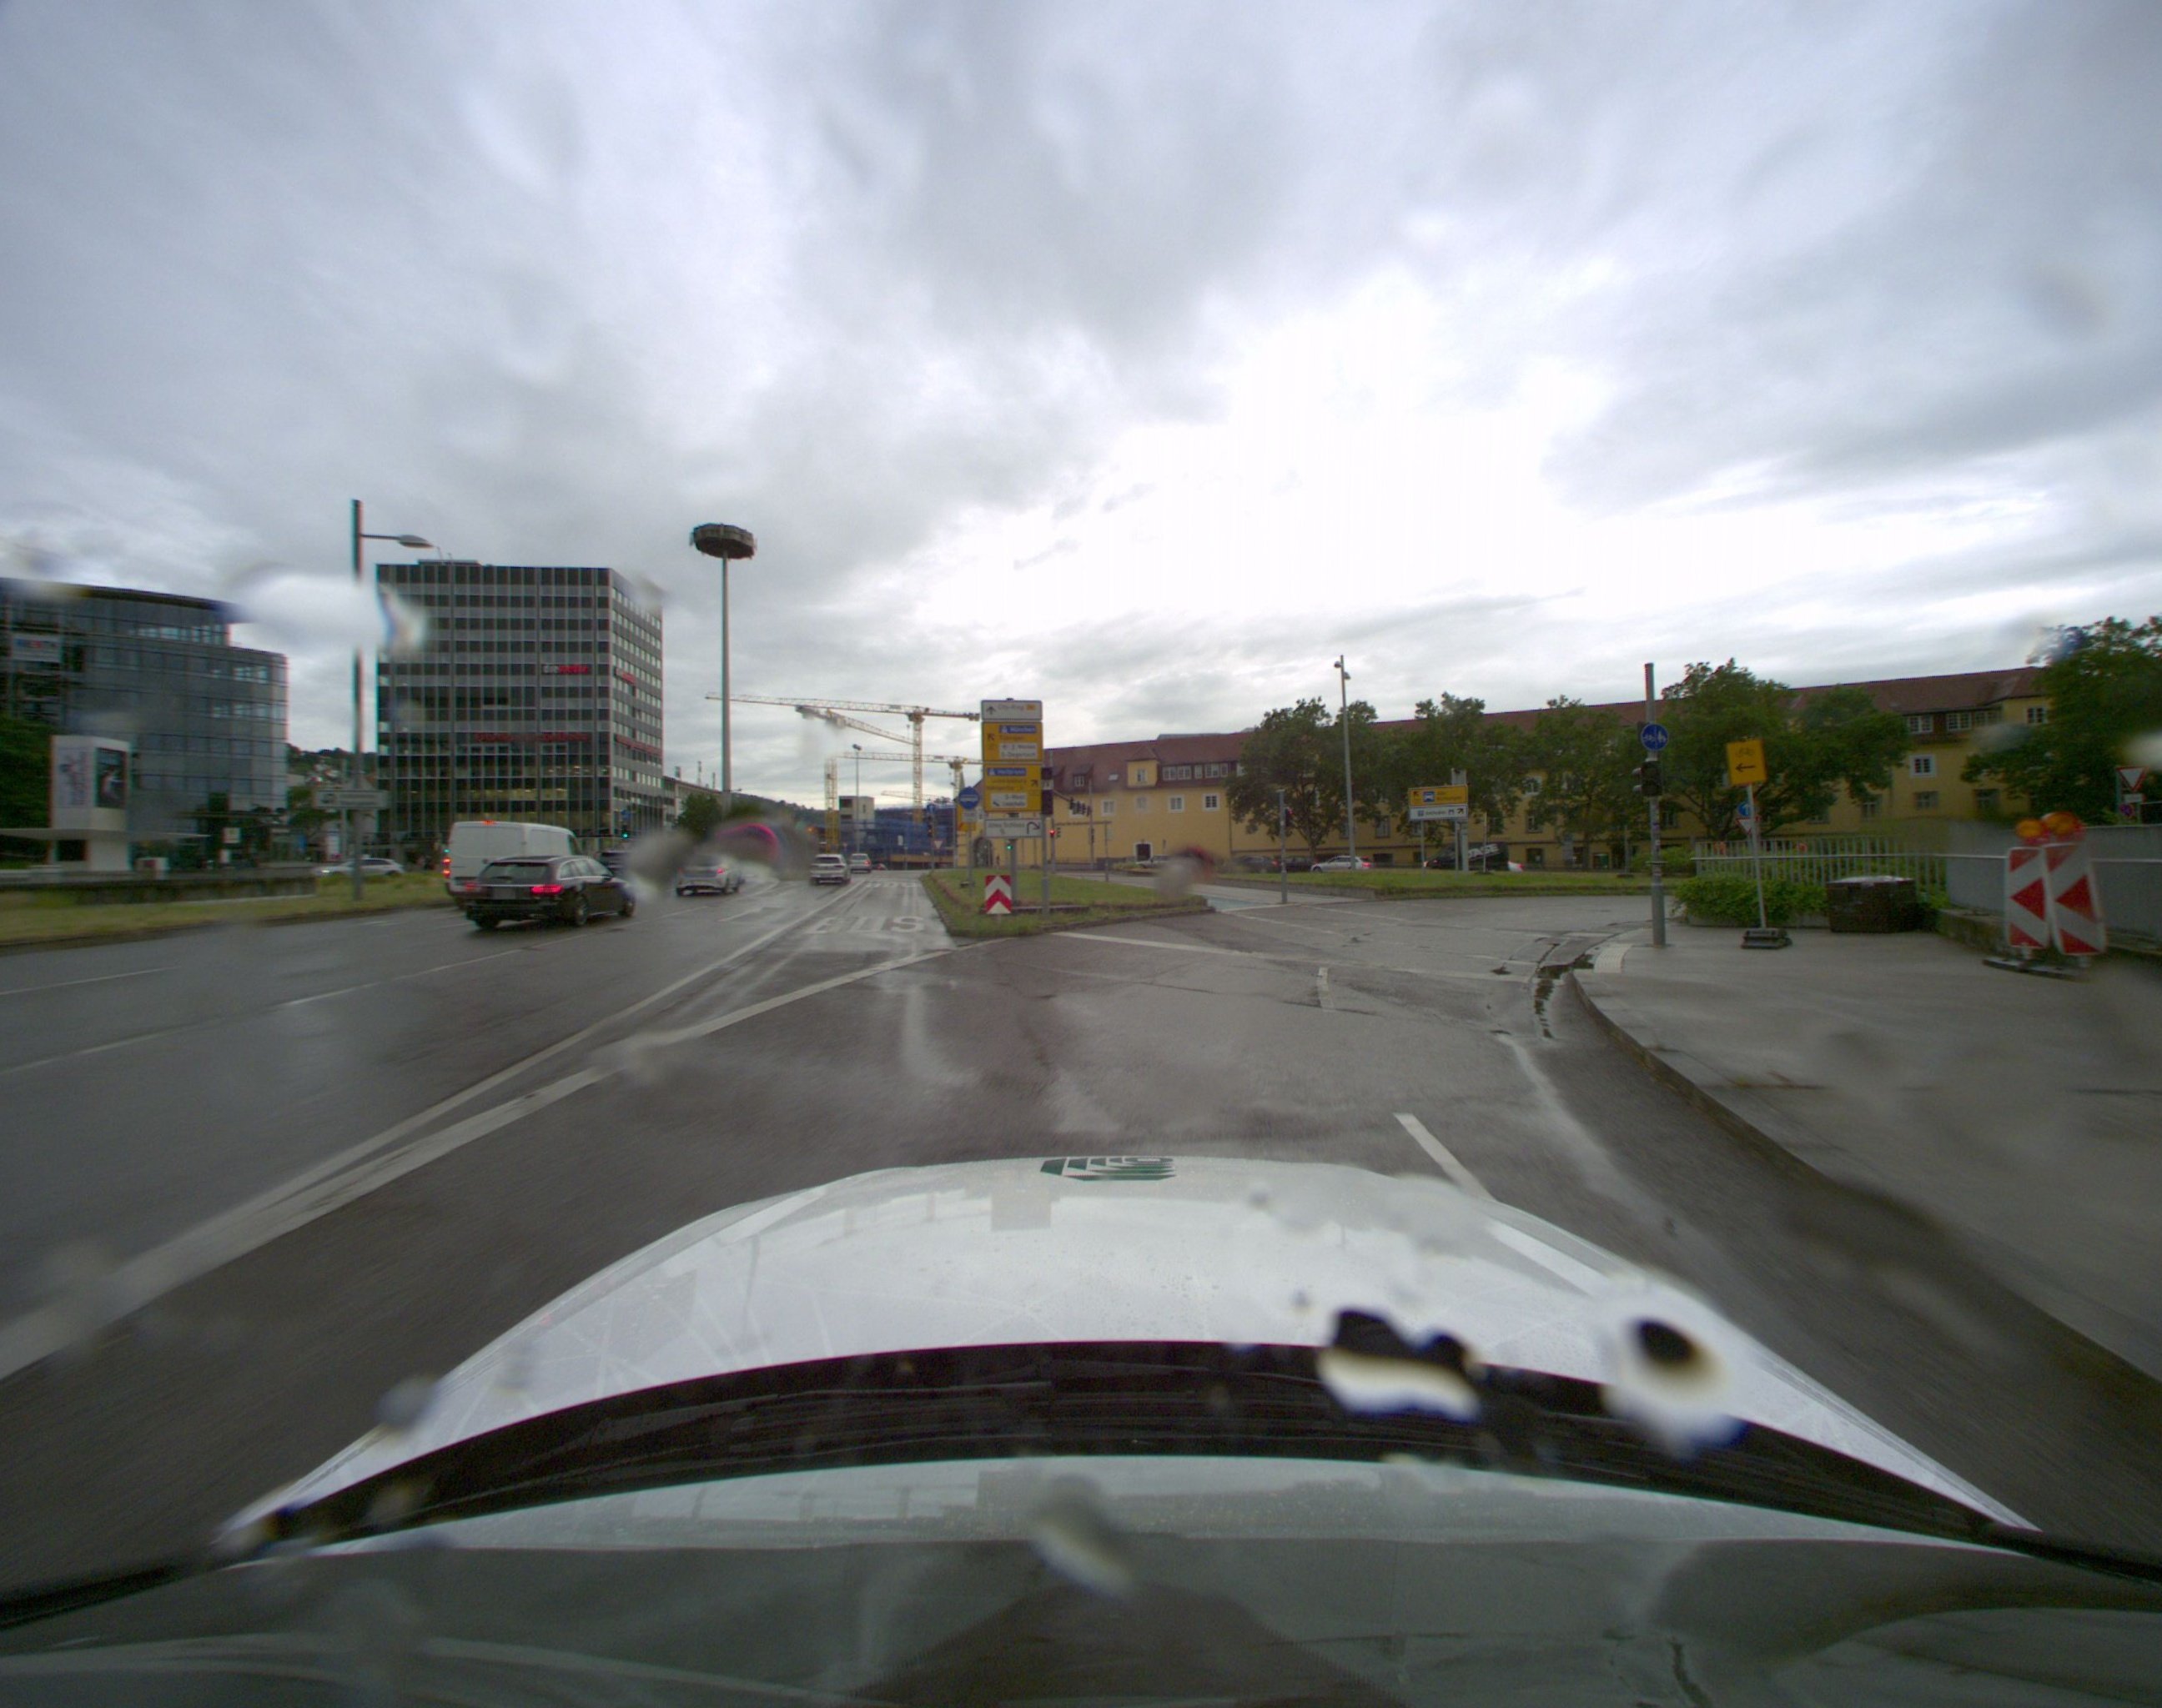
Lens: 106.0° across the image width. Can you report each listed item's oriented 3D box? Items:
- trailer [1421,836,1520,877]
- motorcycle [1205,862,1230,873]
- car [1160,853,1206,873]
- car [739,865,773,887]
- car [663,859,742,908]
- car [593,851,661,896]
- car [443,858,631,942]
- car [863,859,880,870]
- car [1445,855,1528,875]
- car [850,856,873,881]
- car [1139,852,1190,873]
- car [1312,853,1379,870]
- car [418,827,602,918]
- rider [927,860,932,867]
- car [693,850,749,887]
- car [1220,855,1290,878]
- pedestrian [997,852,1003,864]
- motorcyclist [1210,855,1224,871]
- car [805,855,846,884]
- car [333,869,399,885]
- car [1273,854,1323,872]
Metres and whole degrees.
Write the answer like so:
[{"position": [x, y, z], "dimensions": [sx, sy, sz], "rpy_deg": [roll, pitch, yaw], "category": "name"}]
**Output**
[{"position": [24.572, 0.225, 51.673], "dimensions": [5.412, 2.257, 2.010], "rpy_deg": [-3, -3, 21], "category": "trailer"}, {"position": [11.090, 1.127, 66.199], "dimensions": [1.950, 0.852, 0.547], "rpy_deg": [-1, -2, 12], "category": "motorcycle"}, {"position": [8.051, 0.722, 64.085], "dimensions": [3.375, 1.472, 1.659], "rpy_deg": [-1, -2, 14], "category": "car"}, {"position": [-21.428, 1.436, 53.785], "dimensions": [1.493, 1.369, 3.022], "rpy_deg": [0, -1, -10], "category": "car"}, {"position": [-13.611, 1.043, 29.499], "dimensions": [1.882, 1.653, 3.443], "rpy_deg": [0, -1, -12], "category": "car"}, {"position": [-17.965, 0.771, 32.362], "dimensions": [1.465, 1.706, 3.128], "rpy_deg": [0, -1, -12], "category": "car"}, {"position": [-10.839, 0.834, 16.539], "dimensions": [1.828, 1.494, 3.390], "rpy_deg": [0, 0, -8], "category": "car"}, {"position": [-25.648, 1.267, 99.859], "dimensions": [1.715, 1.365, 3.057], "rpy_deg": [0, -1, -10], "category": "car"}, {"position": [28.906, 0.819, 58.273], "dimensions": [5.239, 1.361, 1.566], "rpy_deg": [-1, -2, 23], "category": "car"}, {"position": [-16.707, 1.072, 61.980], "dimensions": [1.671, 1.741, 3.270], "rpy_deg": [0, 1, -16], "category": "car"}, {"position": [6.005, 0.646, 58.658], "dimensions": [3.376, 1.482, 1.842], "rpy_deg": [-1, -2, 16], "category": "car"}, {"position": [18.781, 0.566, 57.948], "dimensions": [1.550, 1.140, 4.325], "rpy_deg": [1, -2, -43], "category": "car"}, {"position": [-16.034, 0.524, 23.292], "dimensions": [2.292, 2.314, 4.989], "rpy_deg": [0, -1, -9], "category": "car"}, {"position": [-22.063, 1.390, 118.665], "dimensions": [0.618, 1.038, 0.532], "rpy_deg": [0, -2, -8], "category": "rider"}, {"position": [-17.552, 0.698, 39.858], "dimensions": [1.716, 1.727, 3.482], "rpy_deg": [0, -1, -10], "category": "car"}, {"position": [13.090, 0.971, 61.311], "dimensions": [4.755, 1.709, 2.012], "rpy_deg": [-1, -2, 33], "category": "car"}, {"position": [-8.972, 0.464, 90.518], "dimensions": [0.450, 1.368, 0.447], "rpy_deg": [-1, -2, 28], "category": "pedestrian"}, {"position": [11.050, 0.729, 66.125], "dimensions": [1.068, 1.273, 0.694], "rpy_deg": [-1, -2, 11], "category": "motorcyclist"}, {"position": [-12.200, 0.733, 38.987], "dimensions": [1.443, 1.359, 2.406], "rpy_deg": [0, -1, -7], "category": "car"}, {"position": [-41.277, 1.317, 47.079], "dimensions": [1.032, 0.940, 2.652], "rpy_deg": [-1, -2, 24], "category": "car"}, {"position": [16.993, 0.739, 63.796], "dimensions": [3.562, 1.336, 1.587], "rpy_deg": [-1, -2, 26], "category": "car"}]
